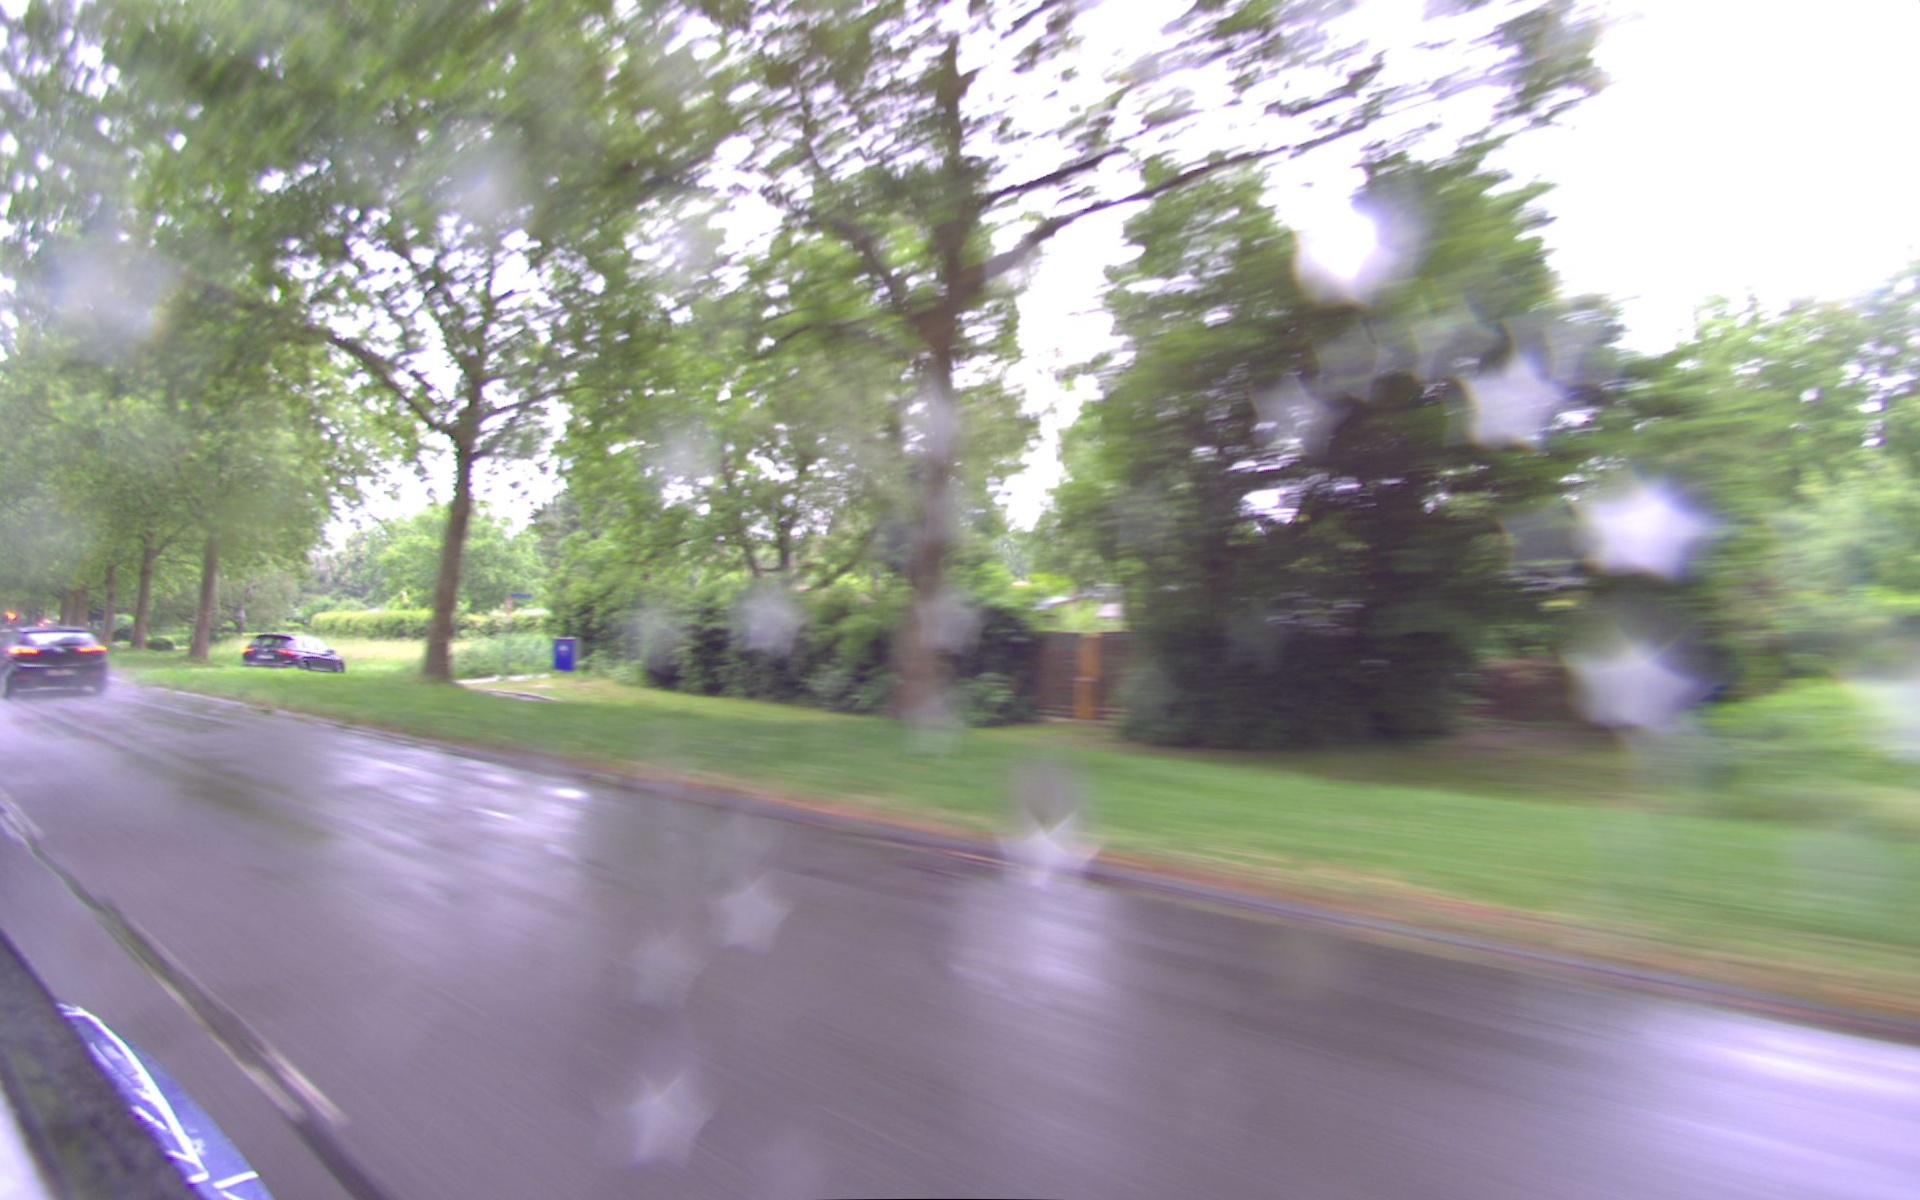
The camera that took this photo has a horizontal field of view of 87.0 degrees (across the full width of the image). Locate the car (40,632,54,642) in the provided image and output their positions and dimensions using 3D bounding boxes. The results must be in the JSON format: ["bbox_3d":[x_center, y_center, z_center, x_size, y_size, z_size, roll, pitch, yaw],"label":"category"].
[{"bbox_3d":[-162.709,6.640,180.319,1.840,1.763,5.020,1,-2,-43],"label":"car"}]

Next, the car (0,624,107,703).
[{"bbox_3d":[-20.059,1.315,22.031,3.879,1.497,1.689,-1,0,41],"label":"car"}]

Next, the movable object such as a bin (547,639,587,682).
[{"bbox_3d":[-13.733,2.090,35.382,0.965,1.433,0.953,-2,0,41],"label":"movable object such as a bin"}]

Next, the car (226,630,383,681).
[{"bbox_3d":[-22.729,1.995,35.264,1.731,1.600,4.263,-4,-6,31],"label":"car"}]
